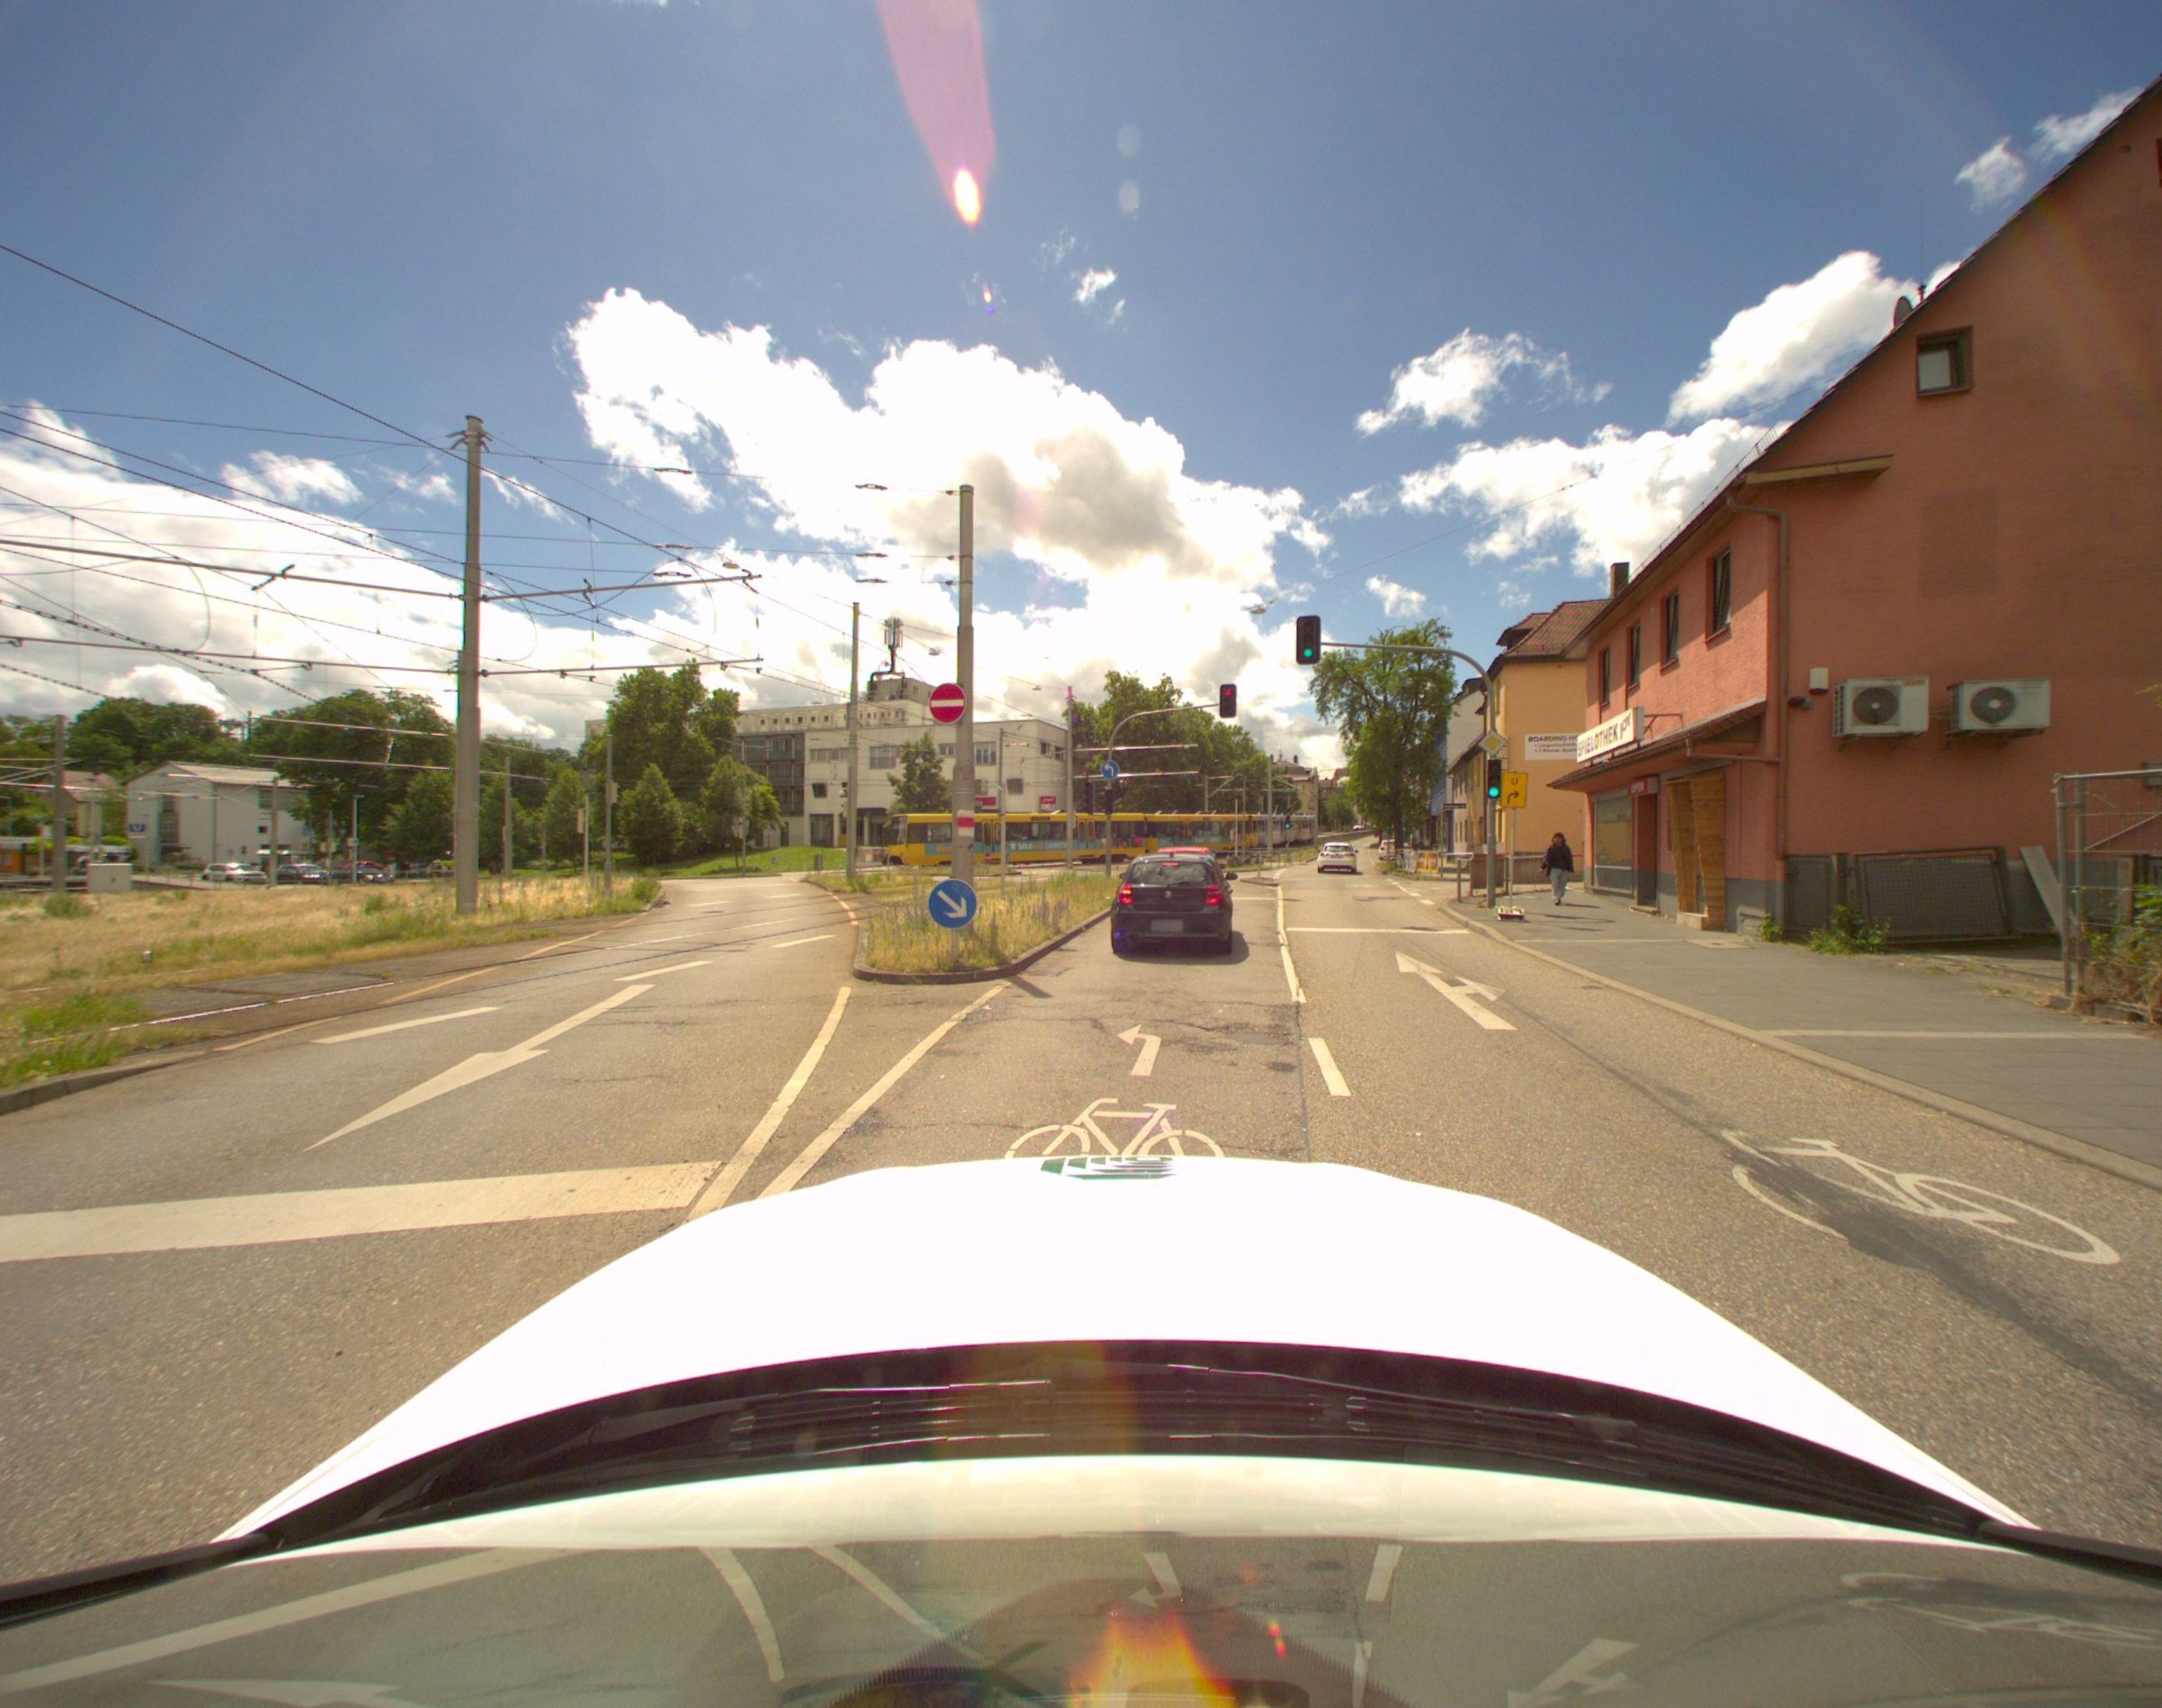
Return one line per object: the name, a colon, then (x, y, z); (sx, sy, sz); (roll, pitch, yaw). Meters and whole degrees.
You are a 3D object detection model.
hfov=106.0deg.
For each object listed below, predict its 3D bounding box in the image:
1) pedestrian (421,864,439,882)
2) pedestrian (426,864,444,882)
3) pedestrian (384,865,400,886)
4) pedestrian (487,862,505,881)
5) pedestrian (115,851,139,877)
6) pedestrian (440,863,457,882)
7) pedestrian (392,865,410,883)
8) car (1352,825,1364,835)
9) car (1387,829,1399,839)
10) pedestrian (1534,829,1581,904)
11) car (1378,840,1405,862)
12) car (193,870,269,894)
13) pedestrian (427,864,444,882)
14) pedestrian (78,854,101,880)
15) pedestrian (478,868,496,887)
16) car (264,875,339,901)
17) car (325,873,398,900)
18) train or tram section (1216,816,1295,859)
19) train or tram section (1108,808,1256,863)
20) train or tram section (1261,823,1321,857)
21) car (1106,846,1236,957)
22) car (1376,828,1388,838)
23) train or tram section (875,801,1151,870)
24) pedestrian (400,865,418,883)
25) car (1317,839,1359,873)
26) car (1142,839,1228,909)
pedestrian: (-57.348, 1.673, 71.737); (0.808, 1.576, 0.844); (-1, 0, 12)
pedestrian: (-56.111, 1.629, 70.711); (0.808, 1.576, 0.844); (-1, 0, 12)
pedestrian: (-63.266, 1.969, 74.798); (0.811, 1.866, 0.836); (-1, 0, 20)
pedestrian: (-50.019, 1.491, 69.624); (0.808, 1.576, 0.844); (-1, 0, 12)
pedestrian: (-62.578, 0.677, 53.402); (0.610, 1.691, 0.842); (-1, 0, 20)
pedestrian: (-55.479, 1.624, 71.457); (0.808, 1.576, 0.844); (-1, 0, 12)
pedestrian: (-59.890, 1.730, 71.730); (0.808, 1.576, 0.844); (-1, 0, 12)
car: (64.406, -5.565, 189.179); (1.975, 2.014, 4.024); (-2, -1, 28)
car: (60.724, -3.936, 158.465); (2.105, 1.858, 3.757); (-1, 1, 21)
pedestrian: (10.740, 0.279, 18.373); (0.758, 1.642, 0.781); (-1, 1, 18)
car: (23.083, -0.219, 60.668); (1.772, 1.596, 4.020); (-1, -1, 20)
car: (-60.238, 1.981, 57.715); (4.442, 1.555, 1.947); (-1, -1, 17)
pedestrian: (-57.148, 1.666, 72.115); (0.808, 1.576, 0.844); (-1, 0, 12)
pedestrian: (-65.651, 0.854, 53.905); (0.665, 1.684, 0.760); (-1, 0, 20)
pedestrian: (-50.151, 2.005, 68.727); (0.808, 1.576, 0.844); (-1, 0, 12)
car: (-53.672, 2.330, 56.110); (4.208, 1.651, 1.928); (-1, -1, 17)
car: (-51.808, 2.312, 58.668); (4.192, 1.791, 2.032); (-1, 0, 17)
train or tram section: (18.613, -1.498, 84.808); (3.715, 3.879, 20.752); (-2, -1, 24)
train or tram section: (9.026, -1.340, 67.277); (3.713, 3.829, 20.277); (-2, -1, 33)
train or tram section: (26.885, -1.608, 103.052); (3.715, 3.814, 20.165); (-2, -1, 25)
car: (1.356, 0.649, 12.848); (1.693, 1.452, 4.005); (-1, -1, 4)
car: (48.630, -3.395, 131.546); (1.800, 1.468, 4.021); (2, 1, 21)
train or tram section: (-3.775, -1.145, 53.682); (18.982, 3.919, 3.719); (-1, -1, -37)
pedestrian: (-60.079, 1.743, 72.815); (0.808, 1.576, 0.844); (-1, 0, 12)
car: (12.625, 0.067, 40.113); (1.801, 1.468, 4.018); (3, 2, 17)
car: (2.578, 0.439, 19.436); (1.614, 1.473, 4.014); (-1, -1, 13)
